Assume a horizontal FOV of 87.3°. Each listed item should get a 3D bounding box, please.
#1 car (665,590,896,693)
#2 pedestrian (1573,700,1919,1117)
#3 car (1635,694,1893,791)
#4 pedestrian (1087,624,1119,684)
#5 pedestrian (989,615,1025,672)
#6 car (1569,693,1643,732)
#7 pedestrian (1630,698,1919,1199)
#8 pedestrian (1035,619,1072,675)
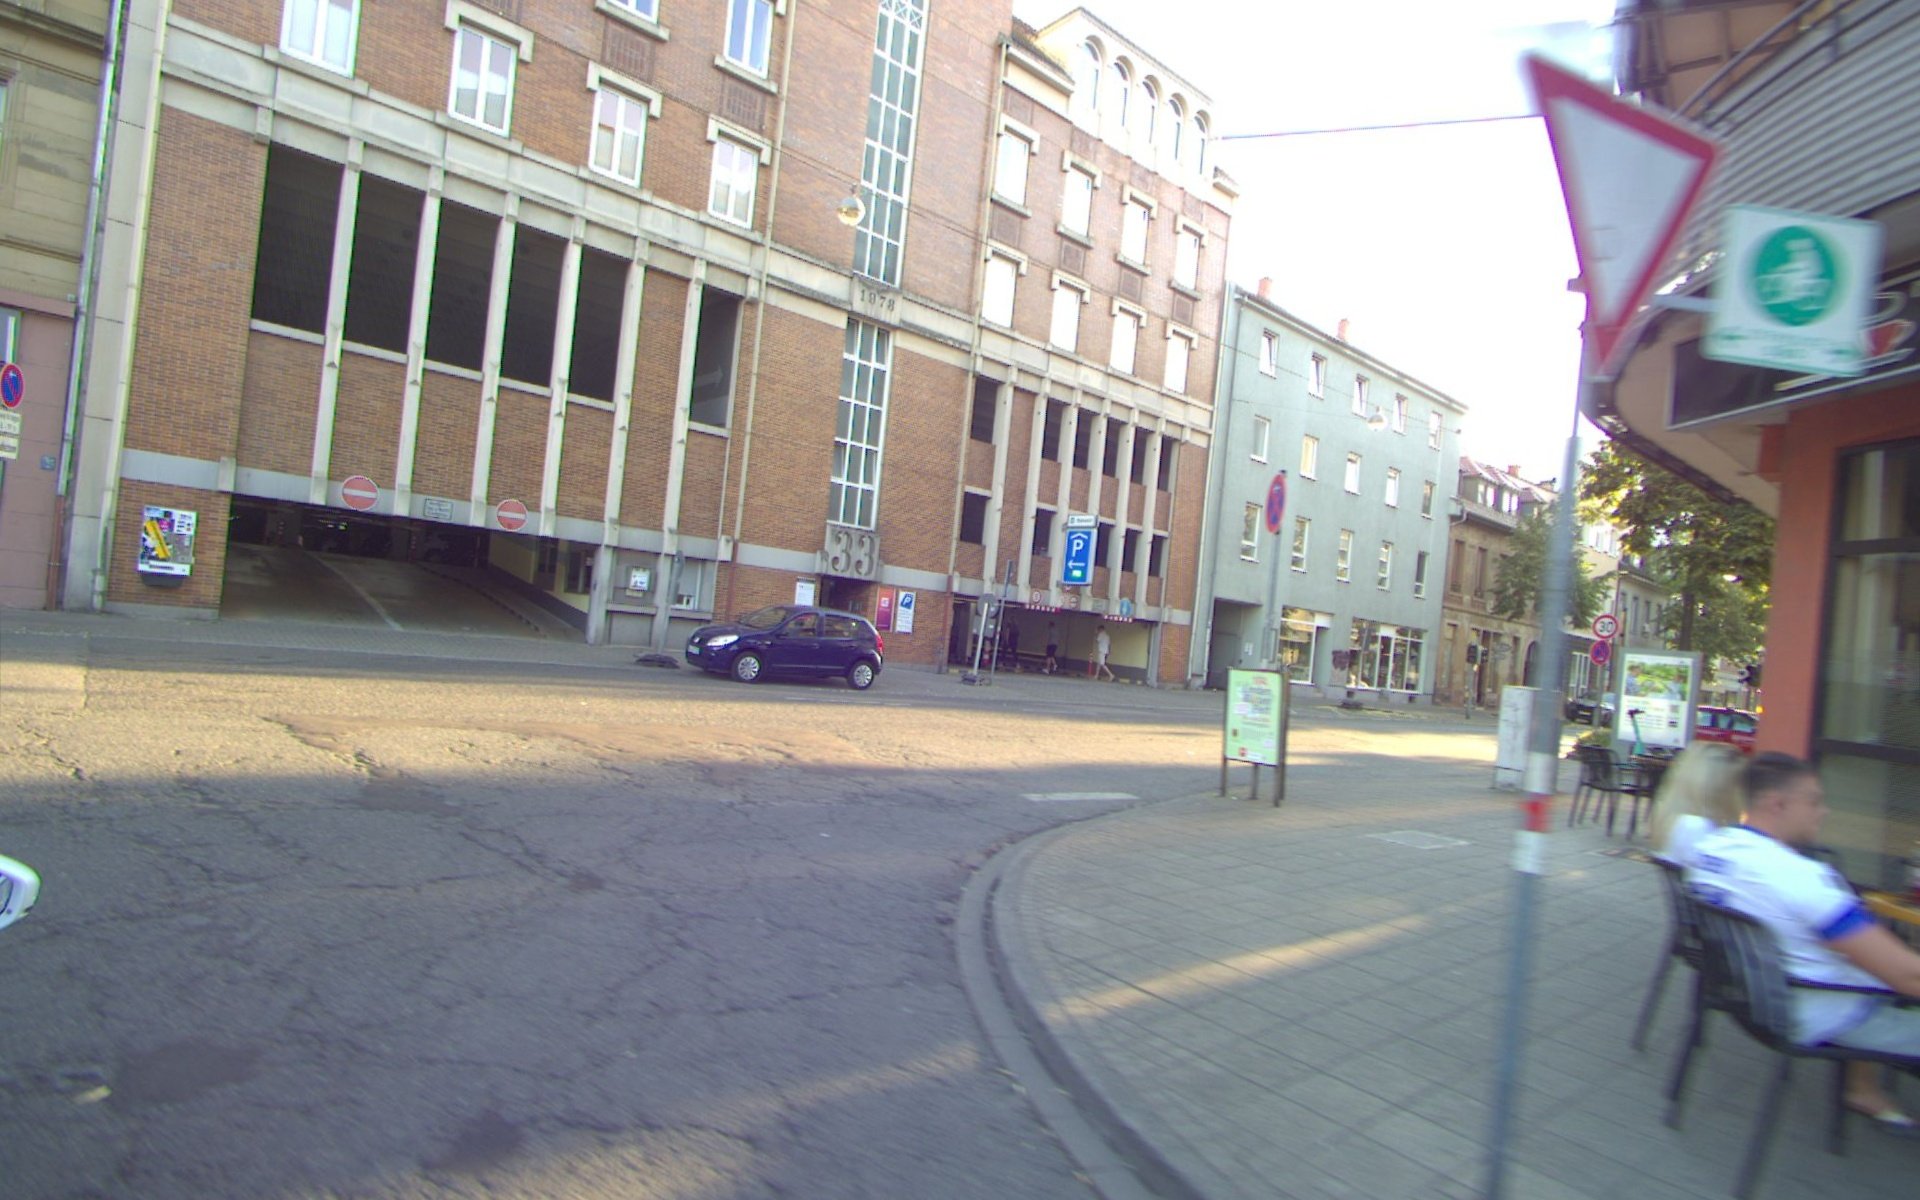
[{"bbox_3d":[-3.516,0.852,20.063,3.970,1.538,1.979,8,-1,-39],"label":"car"},{"bbox_3d":[2.996,1.078,3.732,0.949,1.297,0.686,4,0,2],"label":"pedestrian"},{"bbox_3d":[18.793,3.275,23.681,1.804,1.560,4.396,7,-2,-40],"label":"car"},{"bbox_3d":[4.602,1.739,32.371,0.668,1.850,0.674,6,0,28],"label":"pedestrian"},{"bbox_3d":[1.621,1.494,34.497,0.881,1.855,0.636,6,0,28],"label":"pedestrian"},{"bbox_3d":[32.101,5.604,49.971,3.971,1.570,1.978,7,-2,-41],"label":"car"},{"bbox_3d":[2.711,1.055,2.982,0.823,1.399,0.771,5,0,1],"label":"pedestrian"},{"bbox_3d":[3.137,1.592,33.710,0.881,1.771,0.674,6,0,28],"label":"pedestrian"}]
